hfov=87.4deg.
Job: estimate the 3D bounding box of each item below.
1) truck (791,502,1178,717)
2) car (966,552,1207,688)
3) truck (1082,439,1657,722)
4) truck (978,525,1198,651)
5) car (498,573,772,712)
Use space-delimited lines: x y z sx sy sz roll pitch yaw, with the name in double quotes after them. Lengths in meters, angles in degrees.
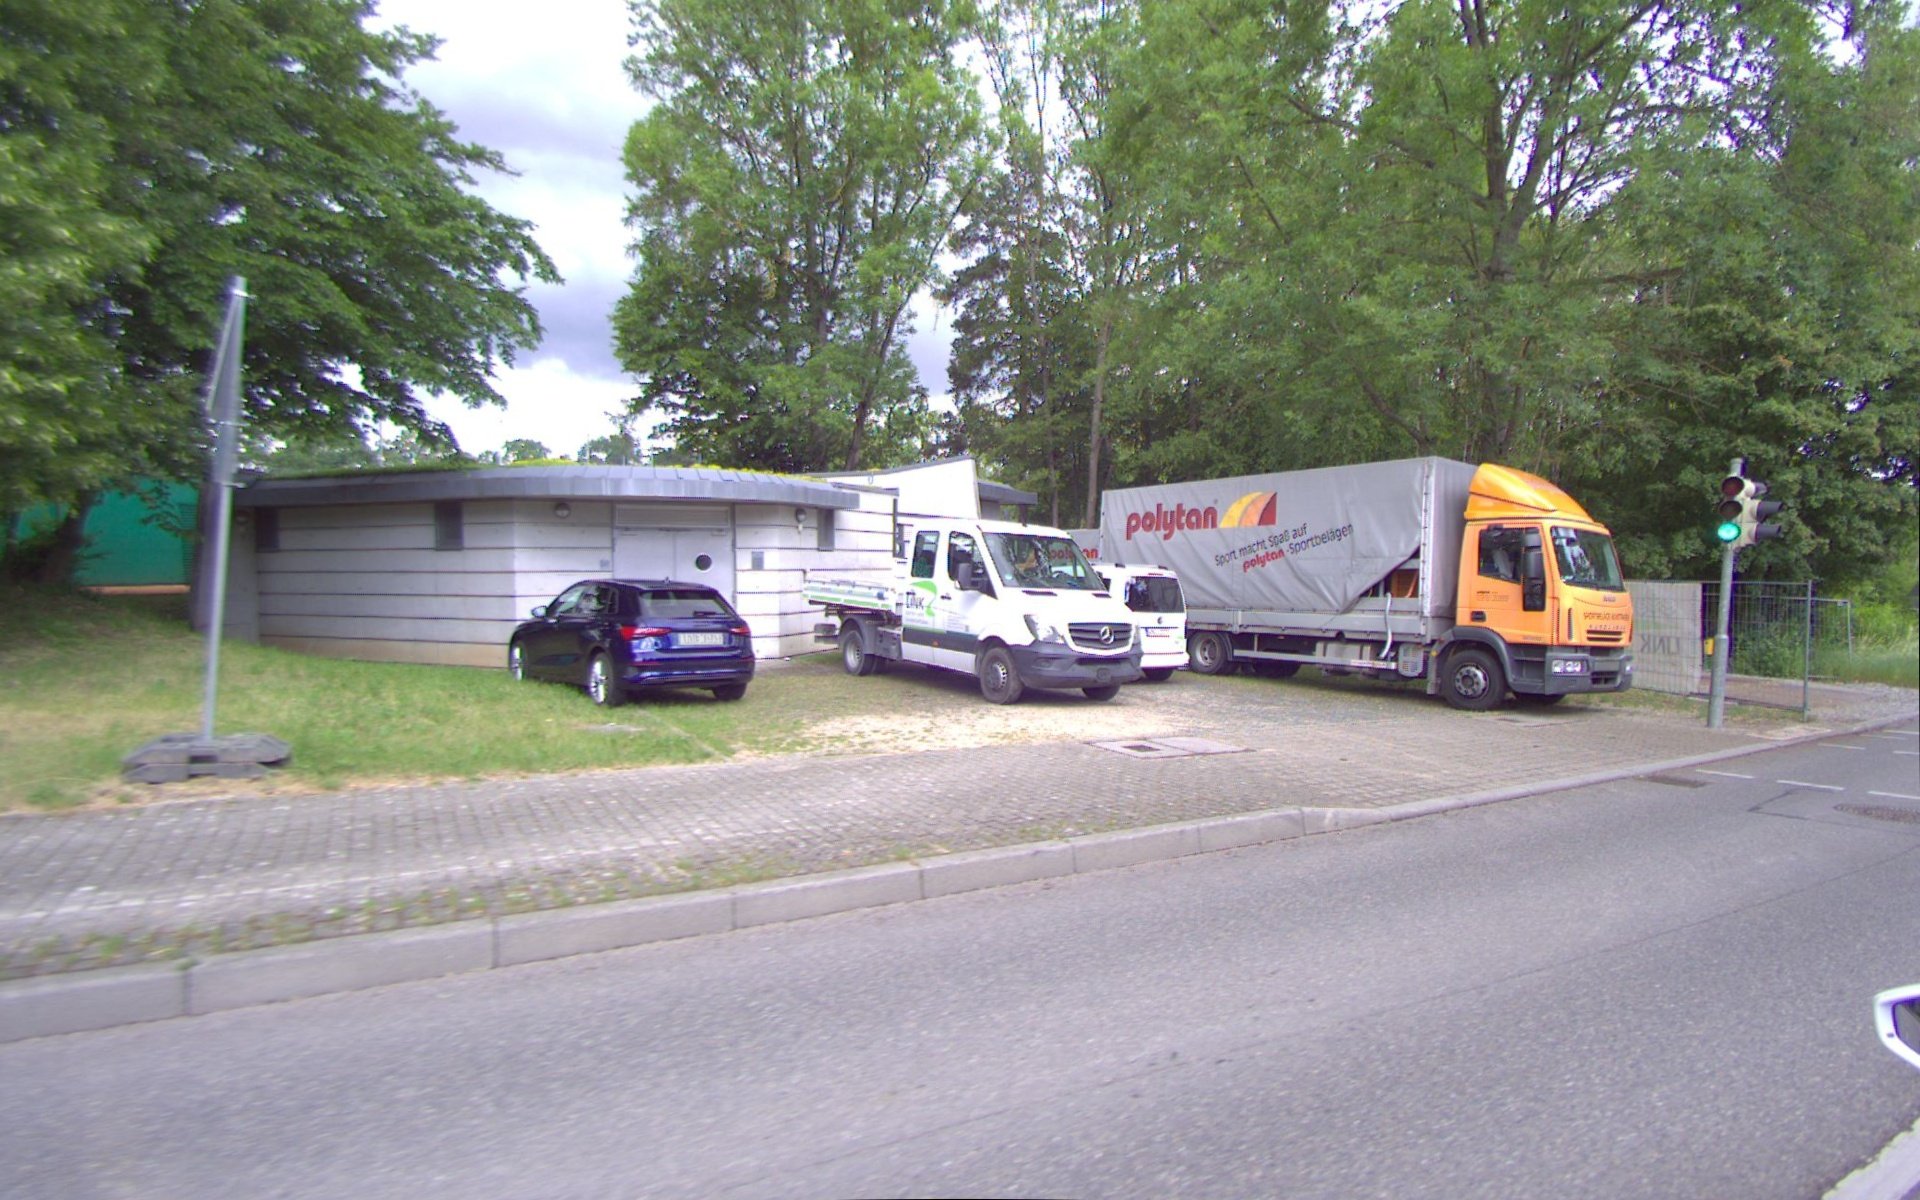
-0.023 -0.024 14.615 2.104 2.448 6.339 2 2 -36 "truck"
1.993 0.233 16.941 1.765 1.935 3.958 0 3 -36 "car"
6.131 -0.363 17.226 2.539 3.578 9.171 2 1 -34 "truck"
3.547 -0.398 28.669 5.823 3.243 2.443 1 2 39 "truck"
-4.126 0.446 12.391 1.705 1.344 3.950 4 0 -42 "car"
